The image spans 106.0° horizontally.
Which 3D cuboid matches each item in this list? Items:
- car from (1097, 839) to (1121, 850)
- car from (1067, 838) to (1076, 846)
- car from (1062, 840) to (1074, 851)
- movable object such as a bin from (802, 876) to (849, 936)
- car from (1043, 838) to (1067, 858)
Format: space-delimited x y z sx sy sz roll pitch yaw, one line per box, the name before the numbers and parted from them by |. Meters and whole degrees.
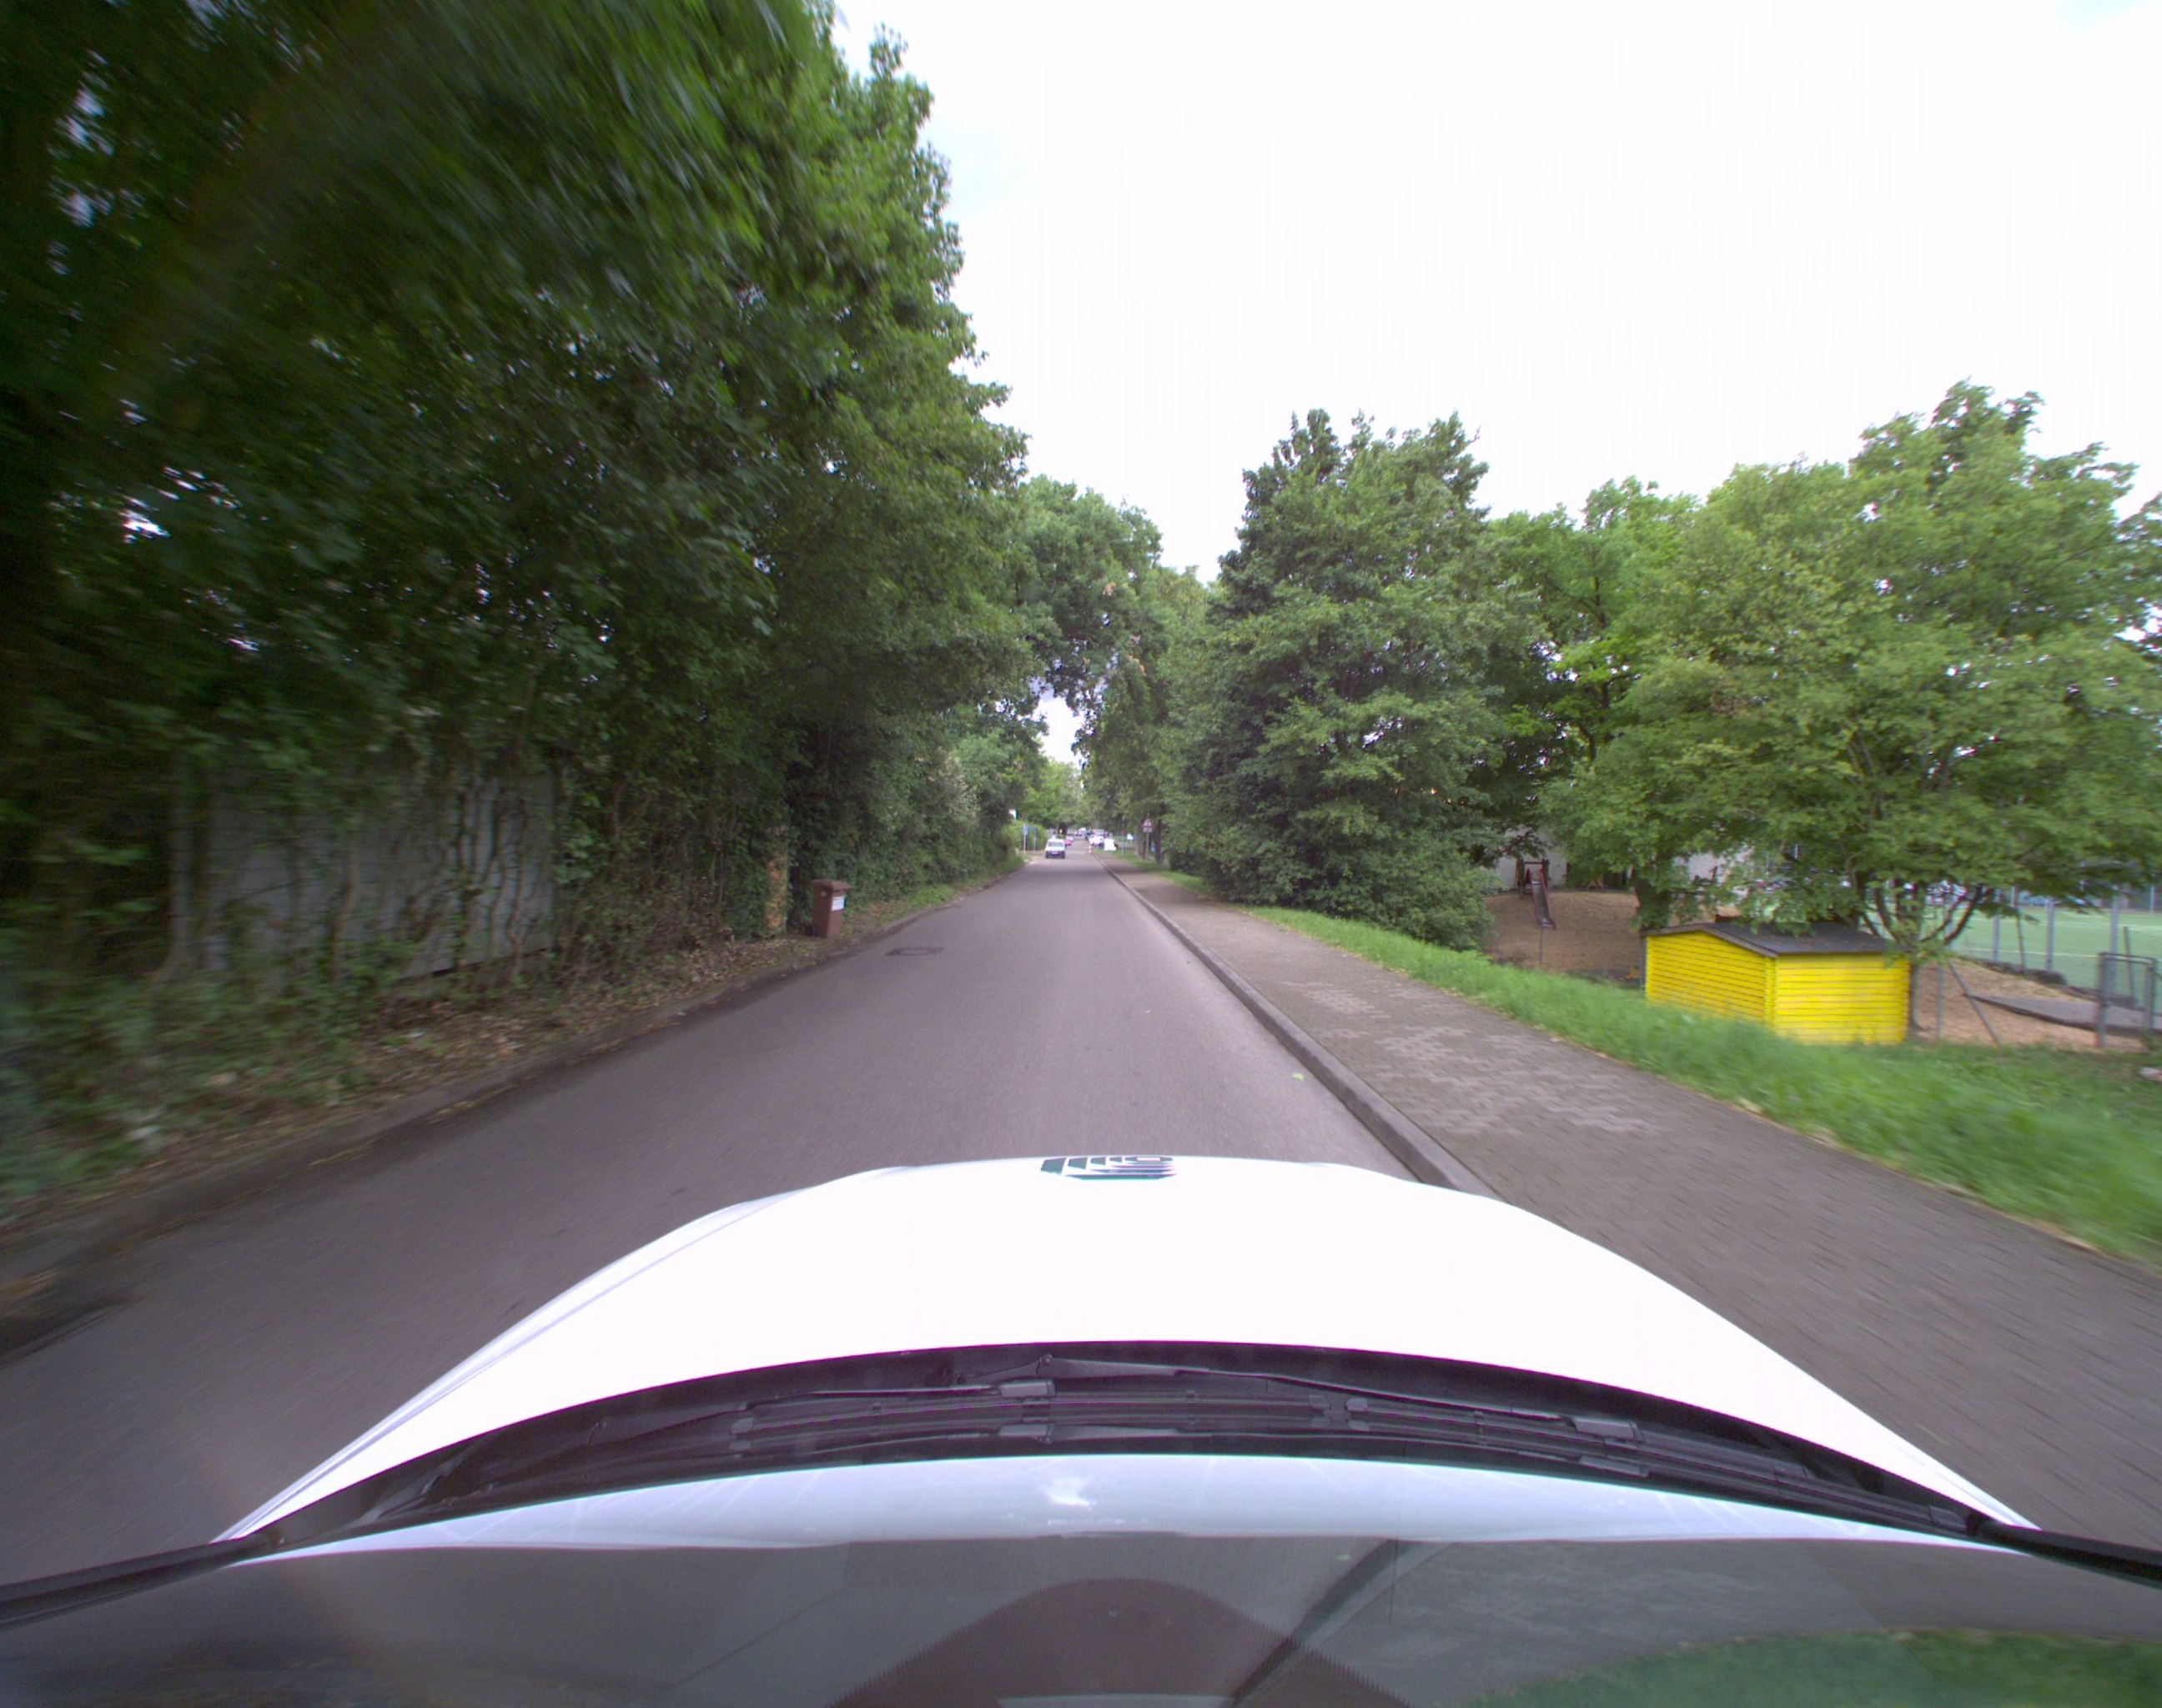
car | 4.612 -1.592 136.248 3.973 1.772 2.000 1 -1 1
car | -2.222 -2.780 189.513 1.986 1.772 4.001 1 -1 1
car | -2.430 -1.524 149.966 1.986 1.772 4.001 1 -1 1
movable object such as a bin | -4.182 0.845 13.367 0.588 0.957 0.470 1 -1 1
car | -2.394 -0.535 76.077 1.986 1.772 4.001 1 -1 1
